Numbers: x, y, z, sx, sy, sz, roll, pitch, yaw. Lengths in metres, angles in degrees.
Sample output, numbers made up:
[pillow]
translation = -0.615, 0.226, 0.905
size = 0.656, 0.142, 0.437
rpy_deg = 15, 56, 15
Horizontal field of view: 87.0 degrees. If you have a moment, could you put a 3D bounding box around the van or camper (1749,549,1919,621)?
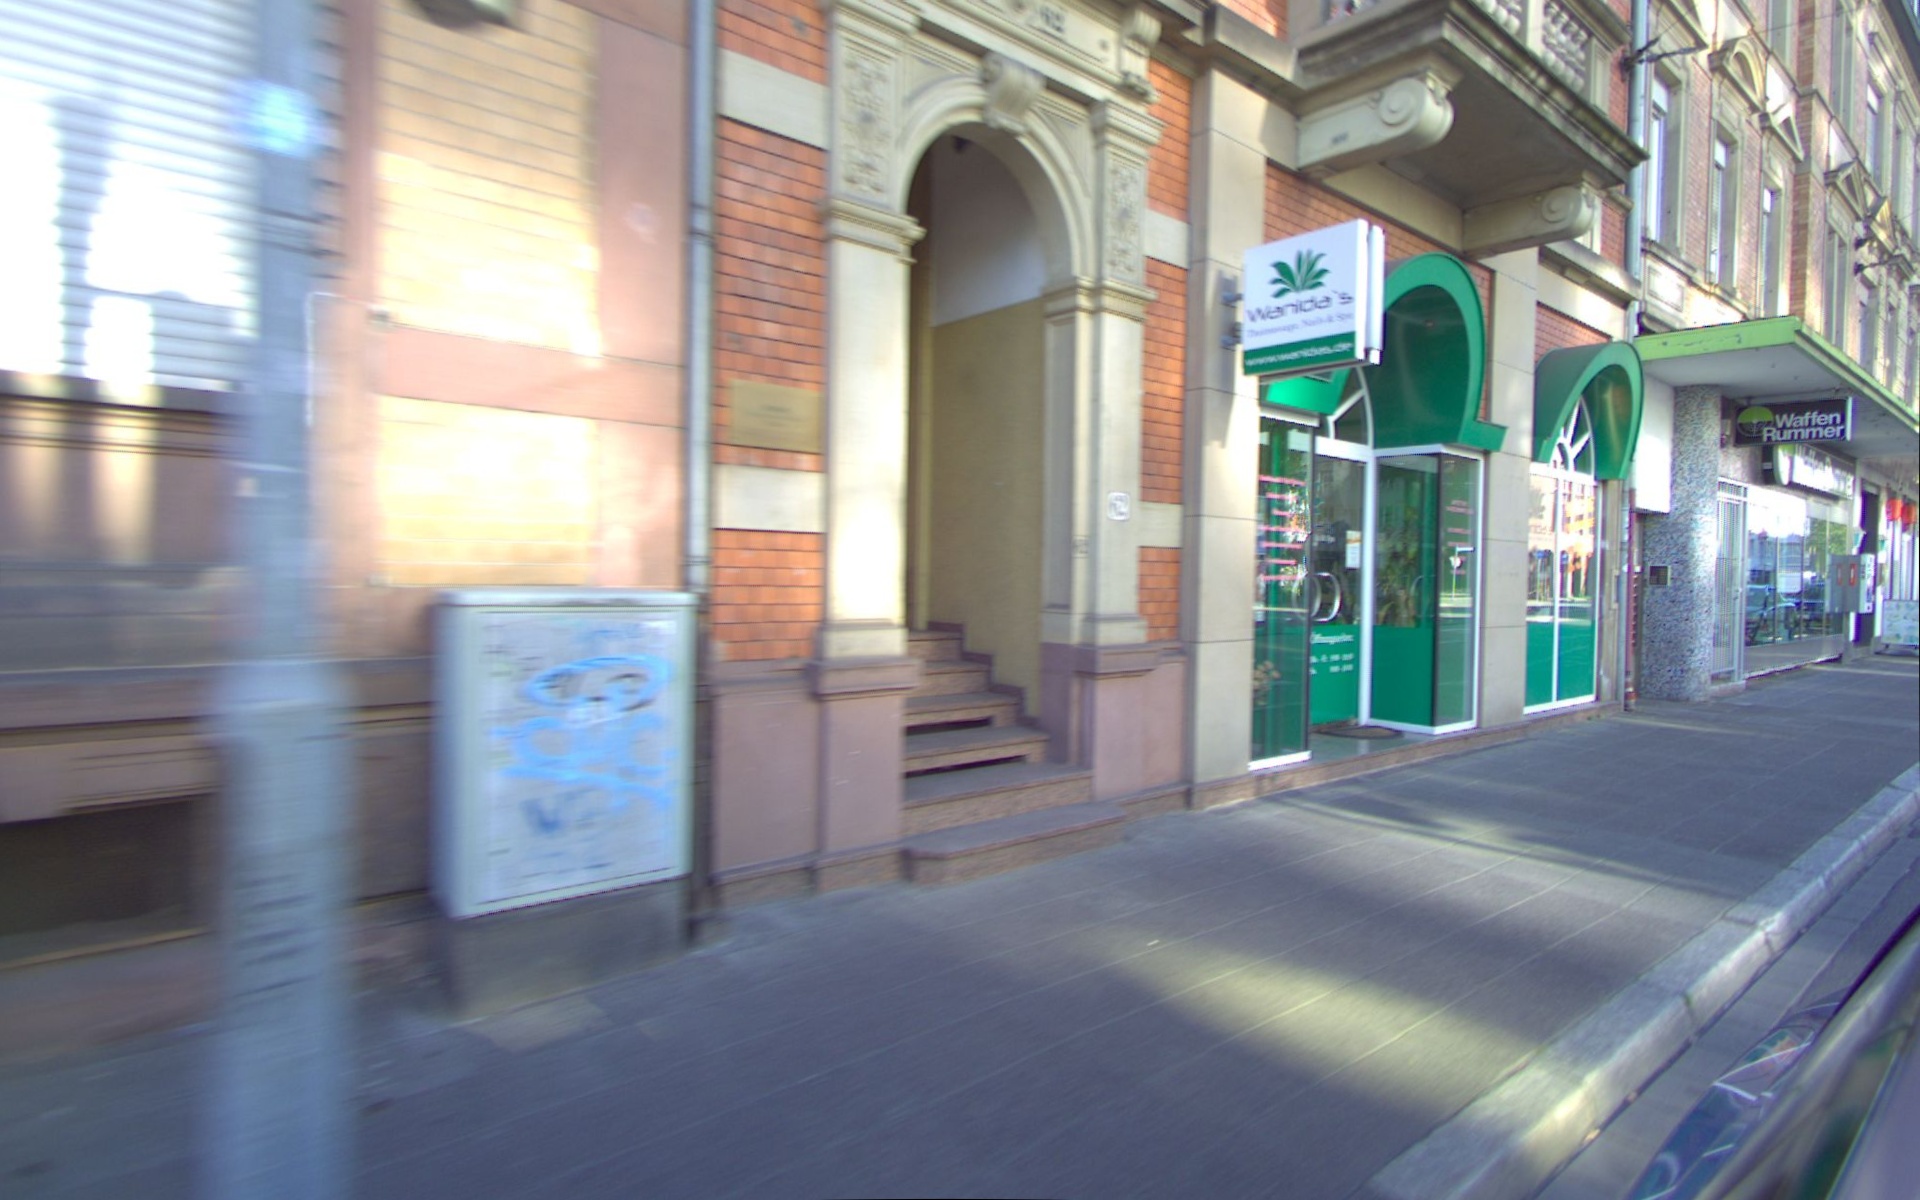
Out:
[van or camper]
translation = 28.144, -0.505, 31.900
size = 1.962, 1.956, 4.711
rpy_deg = 0, 5, -35
